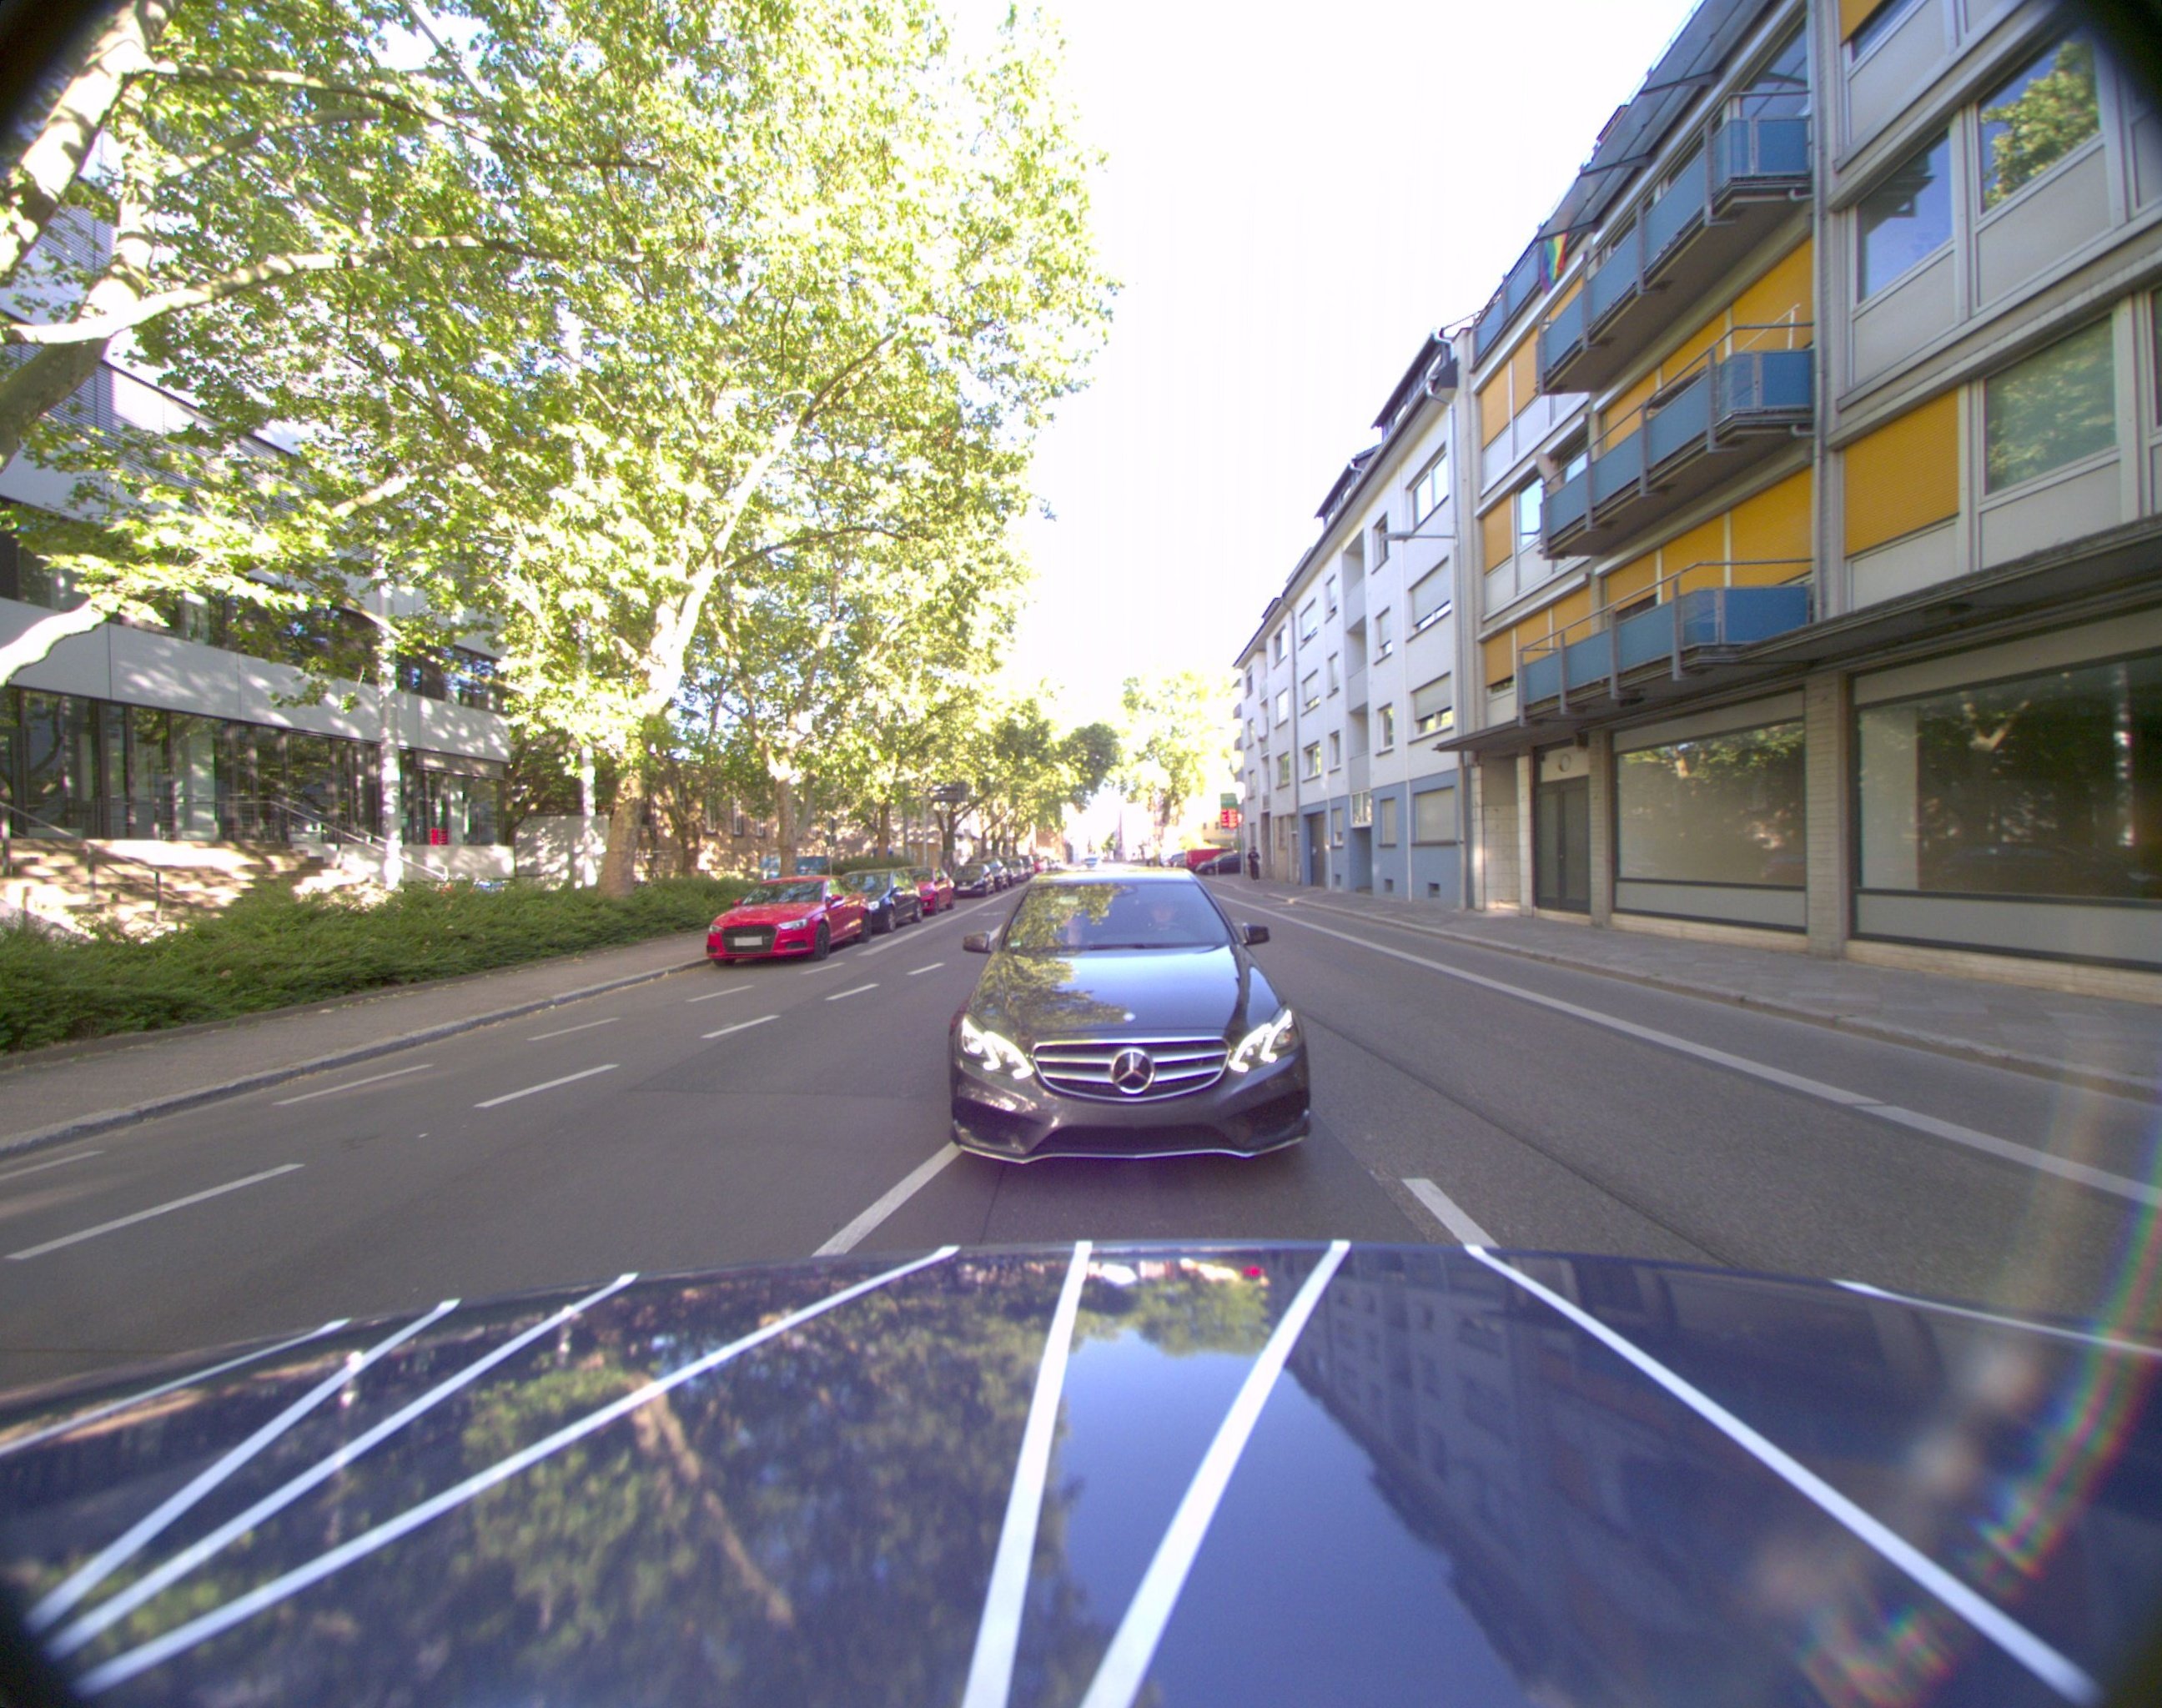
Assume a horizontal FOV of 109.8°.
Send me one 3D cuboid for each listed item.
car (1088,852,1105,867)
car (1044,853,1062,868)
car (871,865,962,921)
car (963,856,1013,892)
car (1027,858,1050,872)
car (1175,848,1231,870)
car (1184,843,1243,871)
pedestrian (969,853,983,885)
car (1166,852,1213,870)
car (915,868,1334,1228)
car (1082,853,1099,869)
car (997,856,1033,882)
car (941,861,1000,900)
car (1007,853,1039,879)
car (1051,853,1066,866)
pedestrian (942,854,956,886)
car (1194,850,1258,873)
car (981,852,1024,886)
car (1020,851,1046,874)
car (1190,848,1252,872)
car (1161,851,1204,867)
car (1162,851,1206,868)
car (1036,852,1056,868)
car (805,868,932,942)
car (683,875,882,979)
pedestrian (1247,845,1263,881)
[{"bbox_3d":[1.919,0.659,93.516,1.908,1.678,4.813,-2,0,1],"label":"car"},{"bbox_3d":[-3.408,0.796,92.838,1.835,1.667,4.259,-2,0,1],"label":"car"},{"bbox_3d":[-5.042,1.138,23.836,1.835,1.459,4.168,-2,0,1],"label":"car"},{"bbox_3d":[-4.595,0.969,38.070,1.835,1.596,4.161,-2,0,1],"label":"car"},{"bbox_3d":[-3.988,1.034,71.783,1.835,1.220,4.259,-2,0,1],"label":"car"},{"bbox_3d":[10.054,0.411,62.706,4.255,1.461,1.653,-4,0,1],"label":"car"},{"bbox_3d":[10.417,0.225,60.124,4.255,1.907,1.818,-4,0,0],"label":"car"},{"bbox_3d":[-6.045,0.870,43.808,0.660,1.849,0.641,-2,1,1],"label":"pedestrian"},{"bbox_3d":[10.435,0.678,73.187,4.255,1.461,1.653,-4,0,1],"label":"car"},{"bbox_3d":[0.225,0.918,5.566,1.849,1.490,4.302,-1,0,1],"label":"car"},{"bbox_3d":[1.017,0.686,79.176,1.726,1.530,4.000,-1,0,1],"label":"car"},{"bbox_3d":[-4.336,0.953,50.603,1.835,1.604,4.259,-2,0,1],"label":"car"},{"bbox_3d":[-4.744,1.108,33.172,1.835,1.459,4.168,-2,0,1],"label":"car"},{"bbox_3d":[-4.178,0.819,55.635,1.835,1.750,4.259,-2,0,1],"label":"car"},{"bbox_3d":[-3.043,0.695,102.944,1.835,1.667,4.259,-2,0,1],"label":"car"},{"bbox_3d":[-7.373,0.883,42.466,0.601,1.785,0.593,-2,1,0],"label":"pedestrian"},{"bbox_3d":[10.401,0.521,54.742,4.255,1.392,1.653,-4,0,1],"label":"car"},{"bbox_3d":[-4.509,0.828,44.110,1.835,1.787,4.463,-2,0,1],"label":"car"},{"bbox_3d":[-4.143,0.689,66.342,1.835,1.839,4.259,-2,0,1],"label":"car"},{"bbox_3d":[10.485,0.458,57.044,4.255,1.461,1.653,-4,0,1],"label":"car"},{"bbox_3d":[10.777,0.519,80.610,4.255,1.461,1.653,-4,0,1],"label":"car"},{"bbox_3d":[10.606,0.545,78.645,4.255,1.461,1.653,-4,0,1],"label":"car"},{"bbox_3d":[-3.936,0.677,86.222,1.835,1.667,4.259,-2,0,1],"label":"car"},{"bbox_3d":[-5.040,1.154,18.626,1.835,1.438,4.168,-2,0,1],"label":"car"},{"bbox_3d":[-5.129,1.180,13.765,1.835,1.396,4.247,-2,0,1],"label":"car"},{"bbox_3d":[8.456,0.438,36.914,0.612,1.685,0.655,-2,1,1],"label":"pedestrian"}]
